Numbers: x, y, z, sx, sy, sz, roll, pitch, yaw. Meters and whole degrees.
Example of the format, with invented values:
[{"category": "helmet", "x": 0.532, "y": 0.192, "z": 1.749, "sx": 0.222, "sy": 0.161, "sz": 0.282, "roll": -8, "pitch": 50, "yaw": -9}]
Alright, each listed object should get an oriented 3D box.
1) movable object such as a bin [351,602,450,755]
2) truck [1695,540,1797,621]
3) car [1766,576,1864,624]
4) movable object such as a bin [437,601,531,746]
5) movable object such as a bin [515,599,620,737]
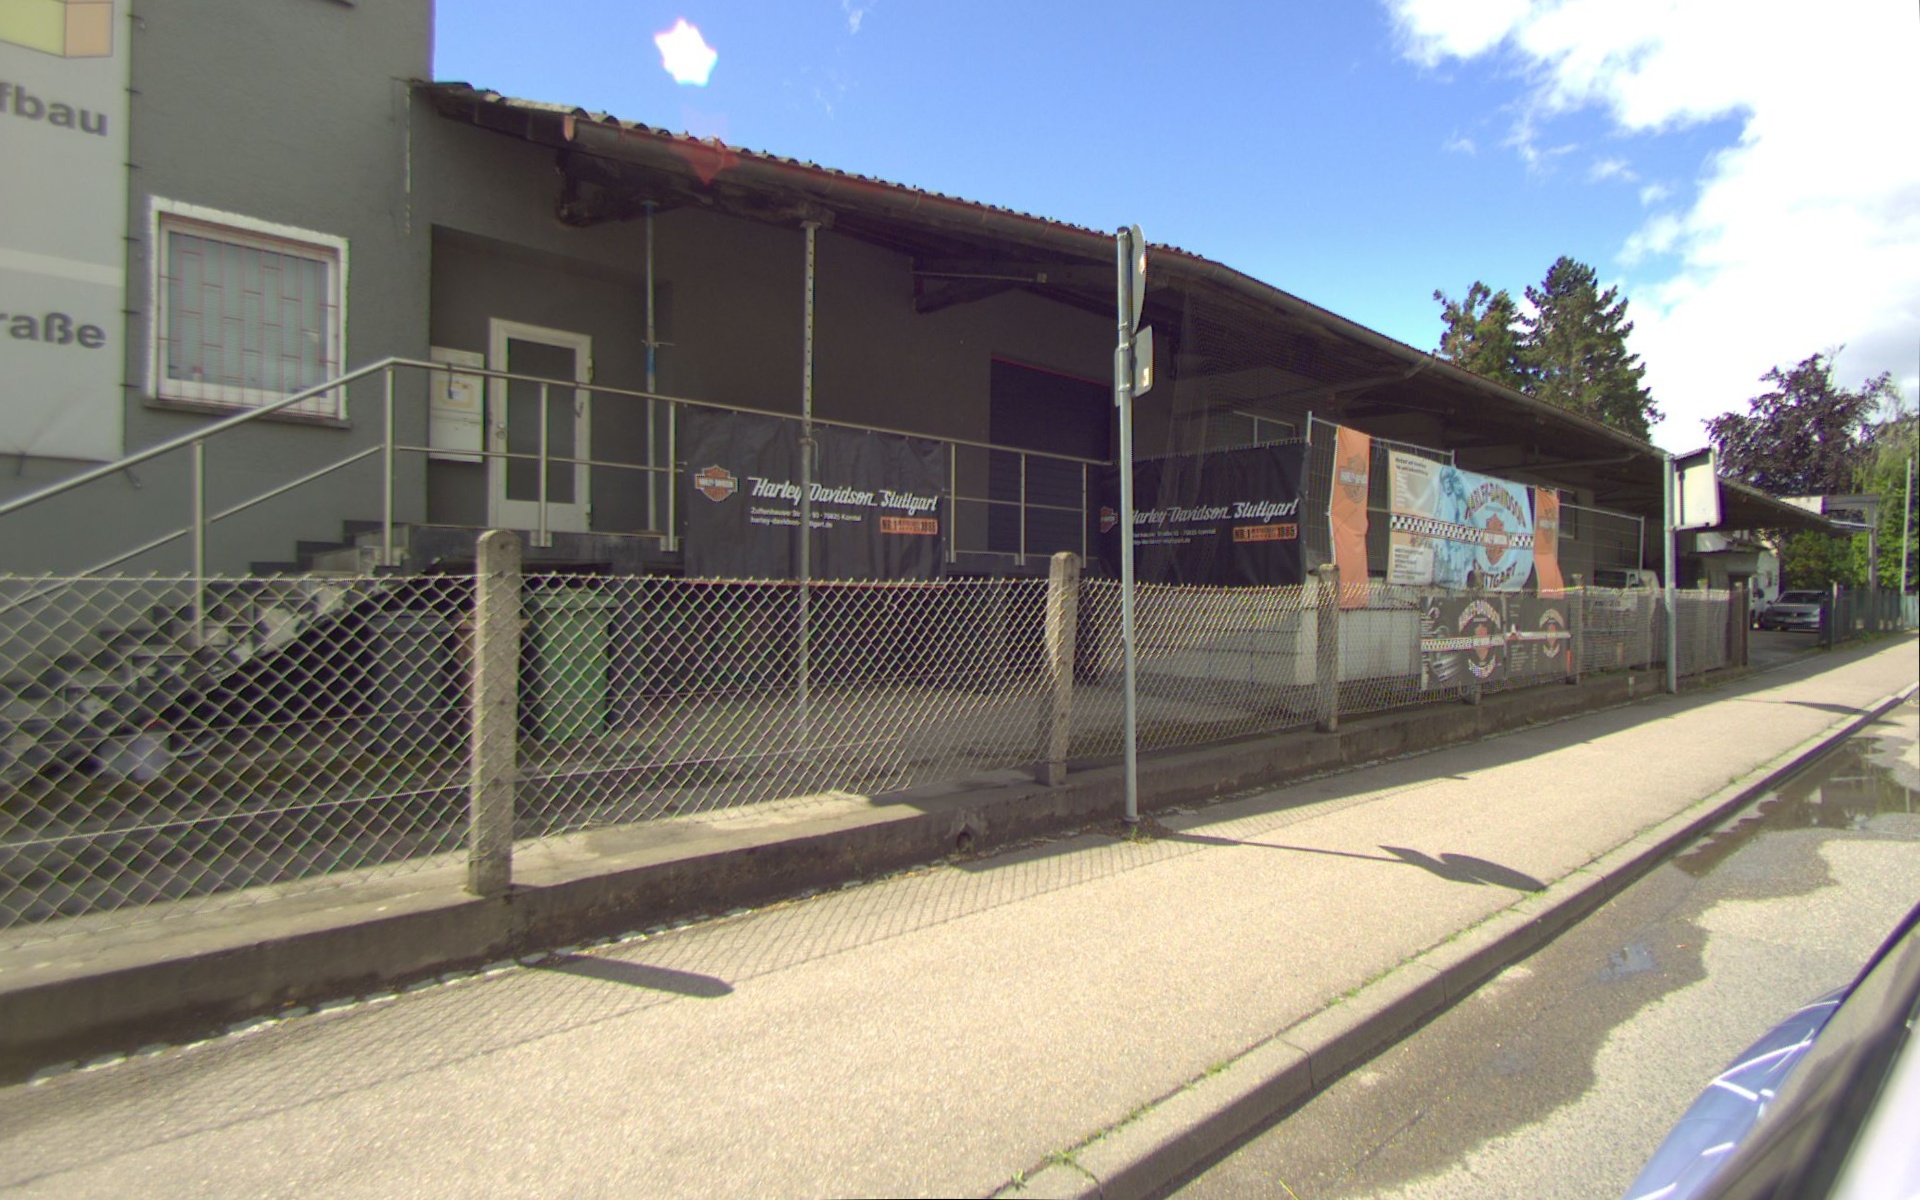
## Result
[{"category": "movable object such as a bin", "x": -3.670, "y": 0.491, "z": 6.635, "sx": 0.466, "sy": 0.942, "sz": 0.482, "roll": -1, "pitch": 1, "yaw": -42}, {"category": "truck", "x": 29.728, "y": -0.750, "z": 38.212, "sx": 5.112, "sy": 2.864, "sz": 2.089, "roll": -1, "pitch": 1, "yaw": -41}, {"category": "car", "x": 30.024, "y": -0.036, "z": 35.488, "sx": 5.112, "sy": 1.549, "sz": 1.861, "roll": -1, "pitch": 1, "yaw": -41}, {"category": "movable object such as a bin", "x": -3.286, "y": 0.482, "z": 6.985, "sx": 0.466, "sy": 0.942, "sz": 0.482, "roll": -1, "pitch": 1, "yaw": -42}, {"category": "movable object such as a bin", "x": -2.860, "y": 0.471, "z": 7.375, "sx": 0.574, "sy": 0.942, "sz": 0.482, "roll": -1, "pitch": 1, "yaw": -42}]
